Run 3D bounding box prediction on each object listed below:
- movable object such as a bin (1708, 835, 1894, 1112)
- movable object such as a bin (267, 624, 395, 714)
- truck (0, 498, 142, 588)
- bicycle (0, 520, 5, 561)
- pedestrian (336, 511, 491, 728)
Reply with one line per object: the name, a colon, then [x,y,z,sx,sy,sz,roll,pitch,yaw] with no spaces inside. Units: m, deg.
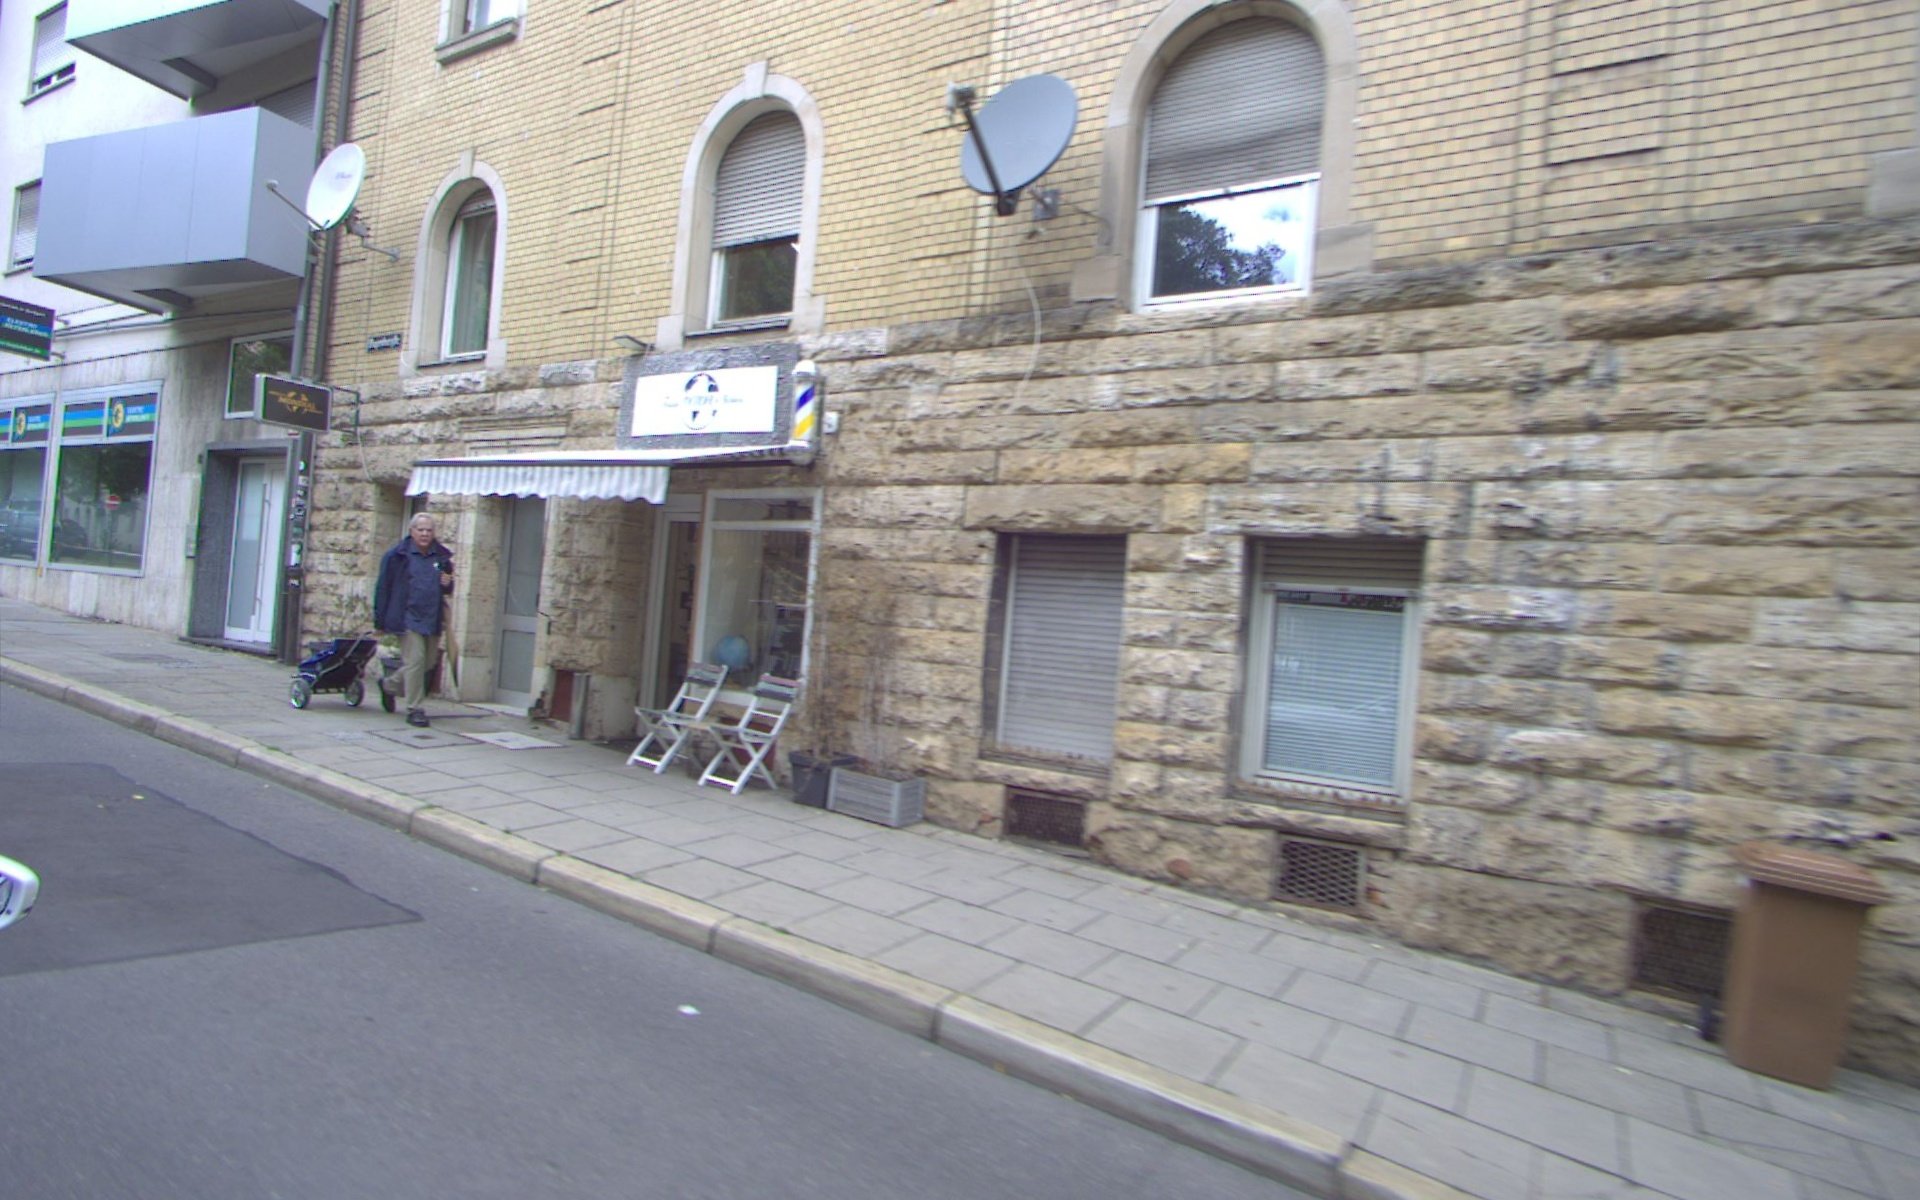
movable object such as a bin: [3.520,1.523,4.253,0.495,0.914,0.595,3,-3,32]
movable object such as a bin: [-5.493,0.589,8.789,0.844,0.677,0.608,5,1,32]
truck: [-28.156,-1.848,29.716,2.337,2.156,5.585,6,-4,20]
bicycle: [-21.640,-1.216,21.628,1.728,1.212,0.319,6,-1,-2]
pedestrian: [-4.658,0.155,8.581,0.844,1.714,0.751,5,1,32]
